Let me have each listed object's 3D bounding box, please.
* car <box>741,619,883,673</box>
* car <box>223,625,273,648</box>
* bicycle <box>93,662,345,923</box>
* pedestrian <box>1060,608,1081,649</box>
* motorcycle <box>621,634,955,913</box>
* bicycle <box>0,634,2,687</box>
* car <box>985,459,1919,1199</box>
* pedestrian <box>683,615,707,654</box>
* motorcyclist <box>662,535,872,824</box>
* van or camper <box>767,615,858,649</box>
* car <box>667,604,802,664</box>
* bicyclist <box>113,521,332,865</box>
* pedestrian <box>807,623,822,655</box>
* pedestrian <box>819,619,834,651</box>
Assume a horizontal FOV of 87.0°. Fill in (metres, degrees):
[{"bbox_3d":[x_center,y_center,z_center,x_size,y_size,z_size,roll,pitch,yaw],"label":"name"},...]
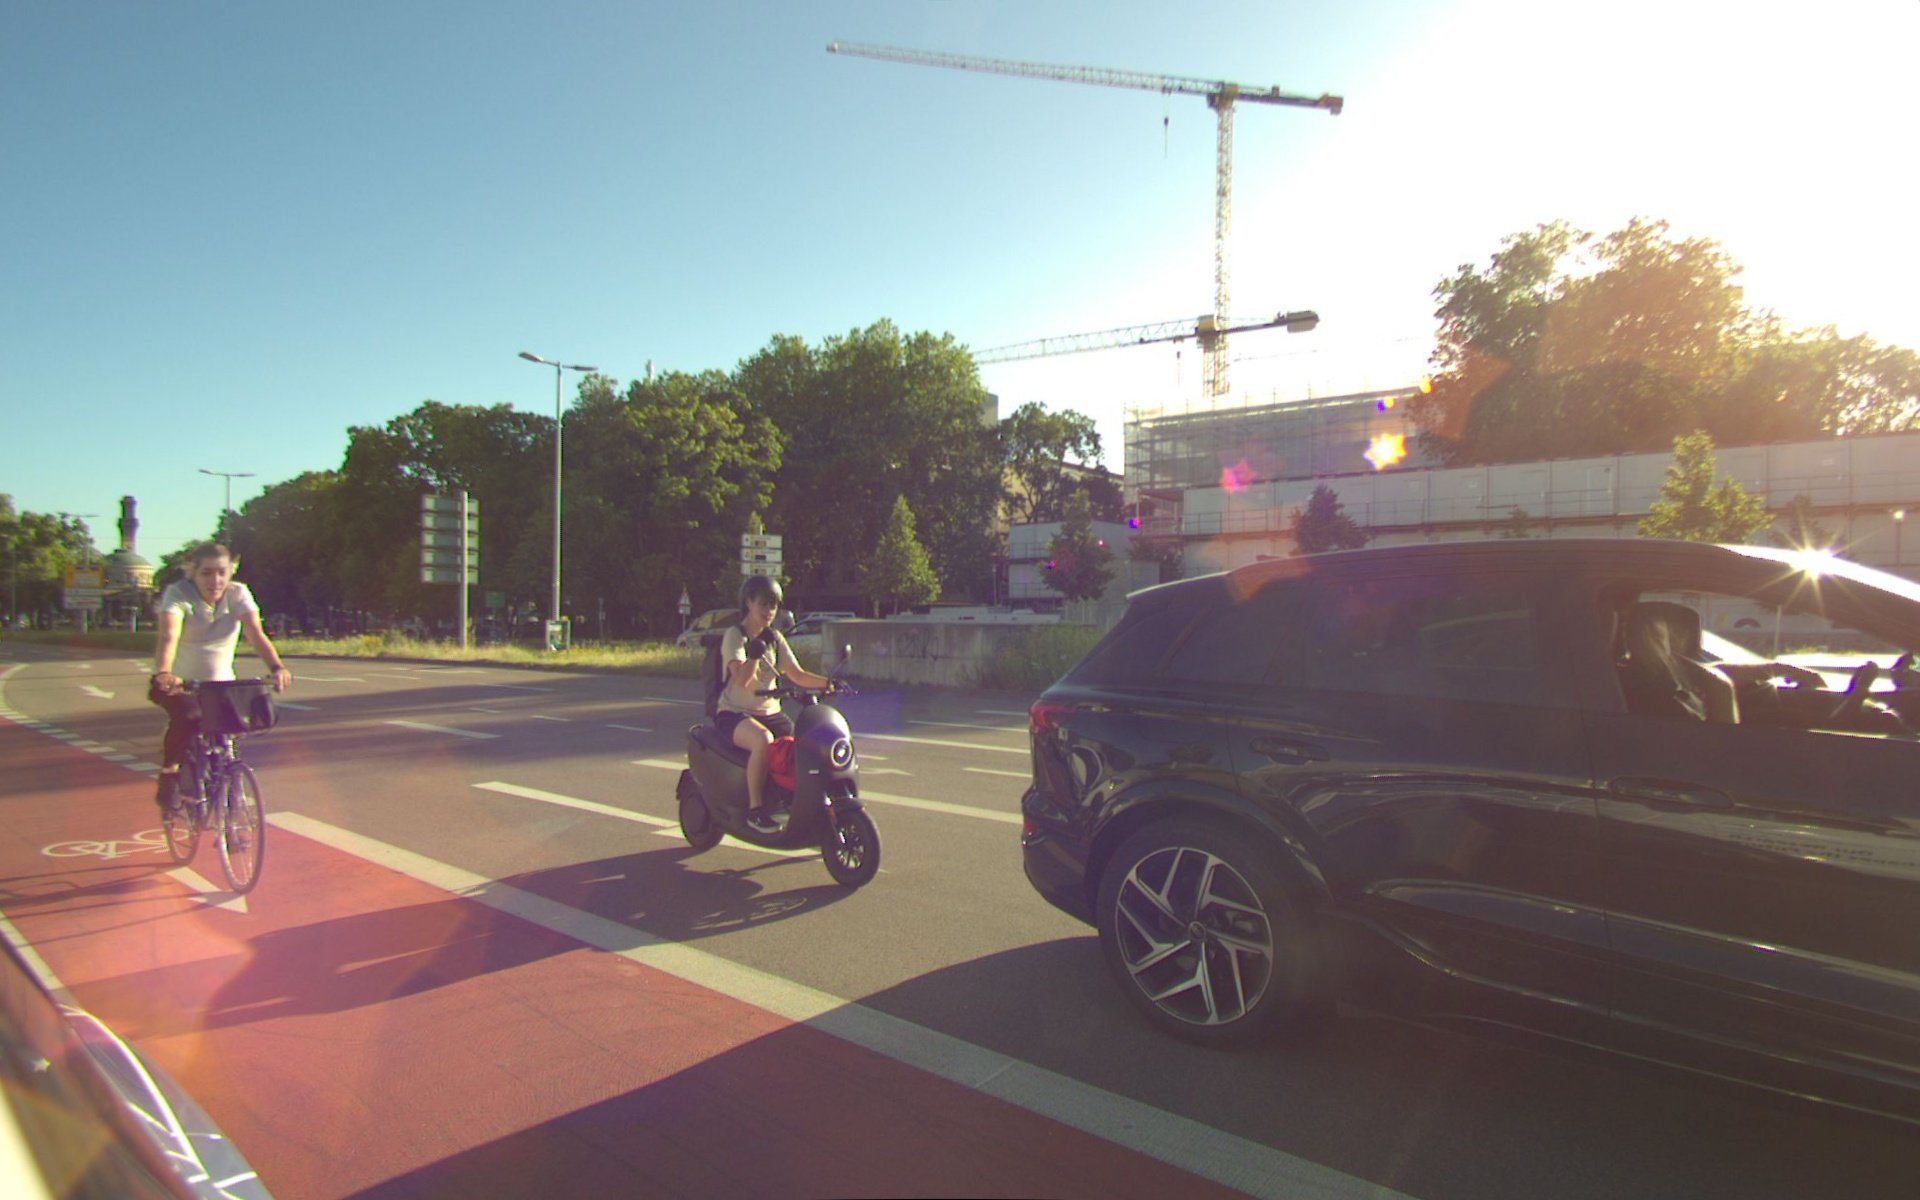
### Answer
[{"bbox_3d":[-4.094,1.221,27.644,3.941,1.387,1.705,-1,-2,41],"label":"car"},{"bbox_3d":[-47.834,2.438,67.981,3.979,1.492,1.857,-1,-2,41],"label":"car"},{"bbox_3d":[-4.186,0.958,5.661,1.890,1.156,0.731,-1,-2,41],"label":"bicycle"},{"bbox_3d":[4.466,1.153,40.908,0.597,1.614,0.580,-1,0,38],"label":"pedestrian"},{"bbox_3d":[-1.019,0.843,5.702,1.943,1.290,0.817,-1,-2,41],"label":"motorcycle"},{"bbox_3d":[-22.851,1.399,23.535,1.505,1.201,0.680,-1,-2,41],"label":"bicycle"},{"bbox_3d":[2.573,0.555,3.193,4.660,1.720,2.144,-1,-1,39],"label":"car"},{"bbox_3d":[-14.390,1.864,54.949,0.835,2.029,0.950,-1,0,23],"label":"pedestrian"},{"bbox_3d":[-1.097,0.419,5.784,0.877,1.475,0.813,-1,-2,41],"label":"motorcyclist"},{"bbox_3d":[-8.961,1.931,61.895,1.951,1.960,5.425,-2,-2,44],"label":"van or camper"},{"bbox_3d":[-7.811,1.150,34.801,4.925,1.937,1.863,-1,-2,39],"label":"car"},{"bbox_3d":[-4.105,0.475,5.641,0.851,1.713,0.797,-1,-2,41],"label":"bicyclist"},{"bbox_3d":[-6.973,1.848,48.561,0.494,1.522,0.492,-1,-2,41],"label":"pedestrian"},{"bbox_3d":[-6.513,1.707,49.314,0.494,1.522,0.492,-1,-2,41],"label":"pedestrian"}]
